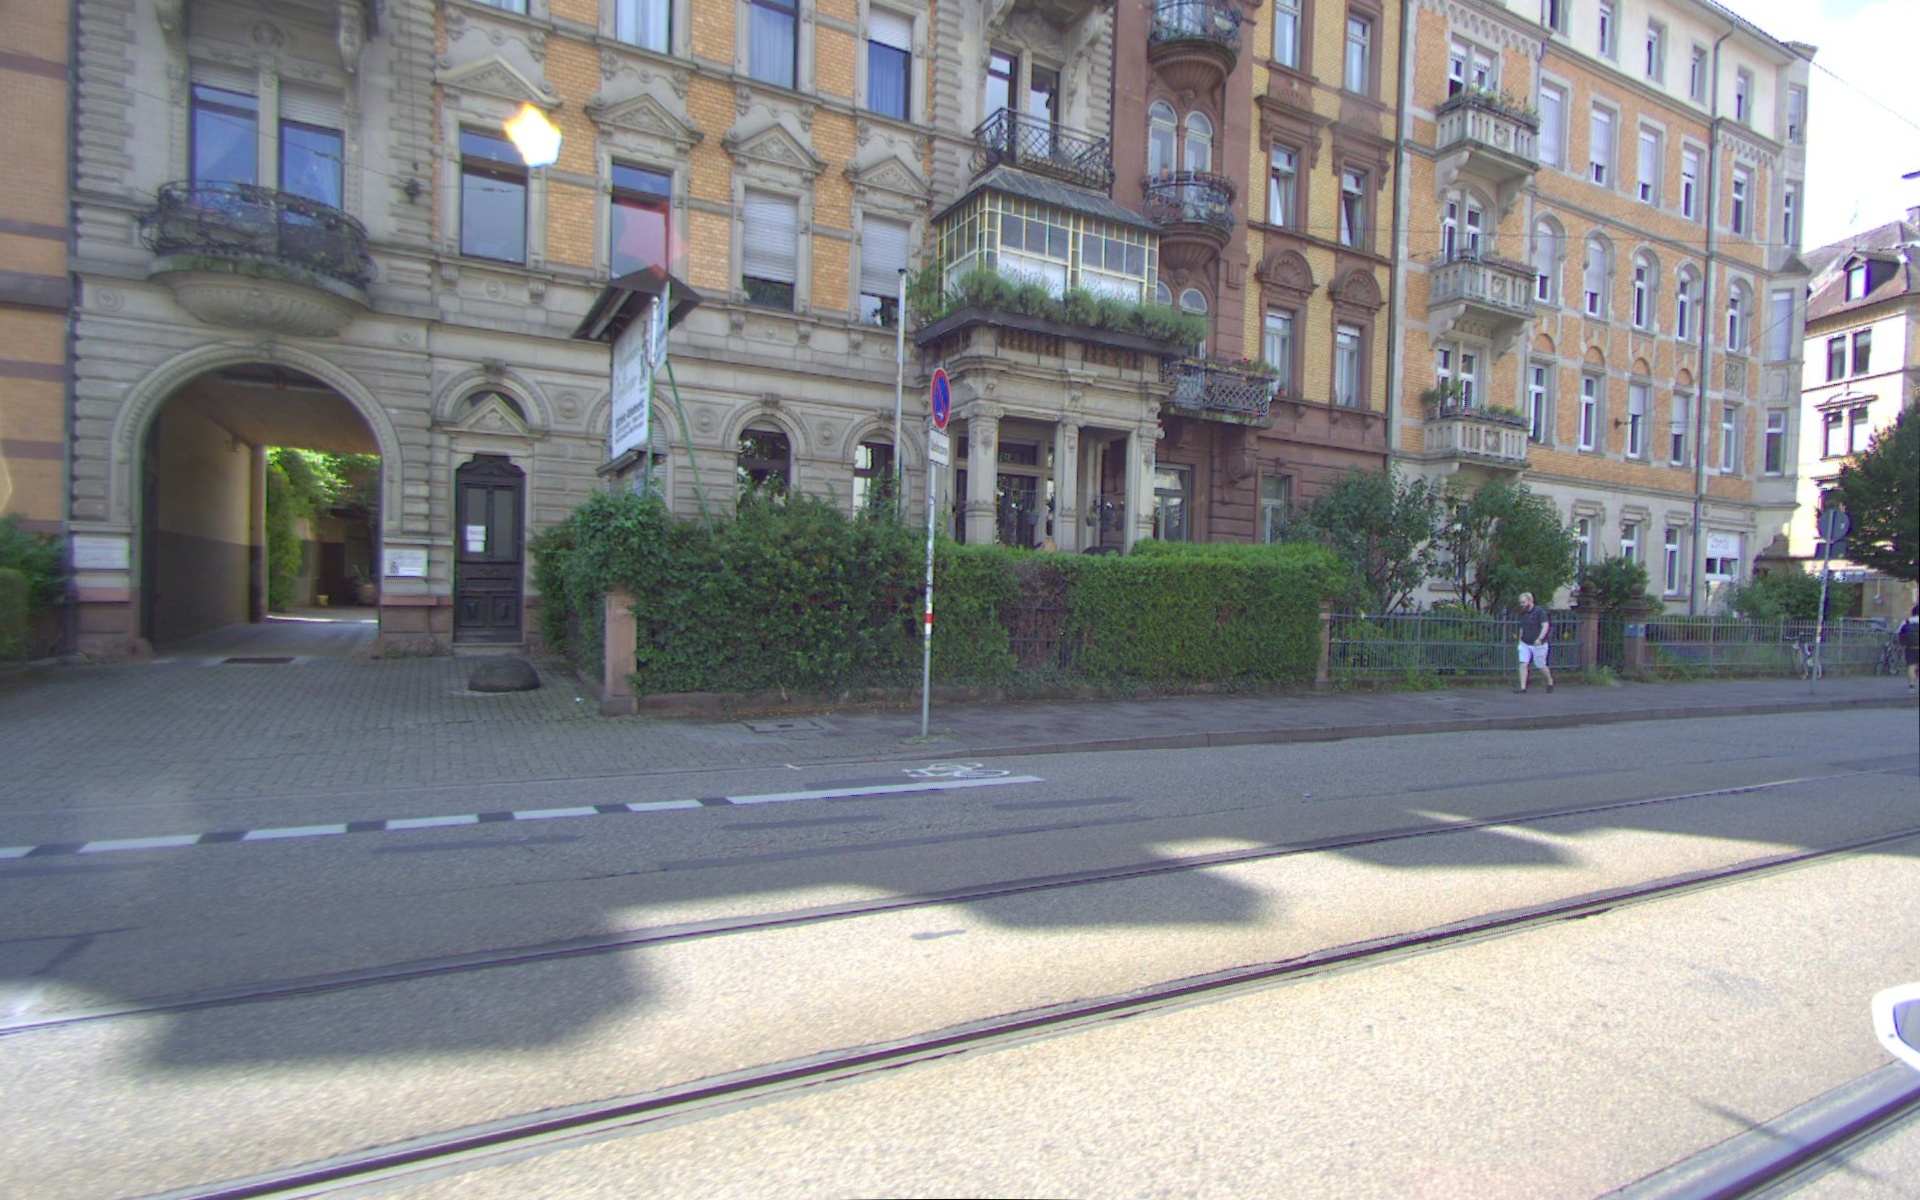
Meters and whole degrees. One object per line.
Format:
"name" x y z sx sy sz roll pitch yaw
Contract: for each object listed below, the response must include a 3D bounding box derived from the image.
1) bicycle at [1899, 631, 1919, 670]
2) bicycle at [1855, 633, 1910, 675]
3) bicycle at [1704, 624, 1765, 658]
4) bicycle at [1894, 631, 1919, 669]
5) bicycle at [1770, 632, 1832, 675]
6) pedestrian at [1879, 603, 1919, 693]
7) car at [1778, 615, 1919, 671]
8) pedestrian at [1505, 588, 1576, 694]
"bicycle" 25.482 1.329 26.526 1.926 0.989 0.419 2 1 -29
"bicycle" 23.012 1.338 25.050 1.926 0.989 0.419 2 1 -29
"bicycle" 24.185 1.257 31.383 0.399 0.990 1.447 1 0 -28
"bicycle" 26.466 1.382 27.366 0.399 0.990 1.447 1 0 -28
"bicycle" 19.284 1.230 23.019 1.926 0.945 0.419 2 1 -29
"pedestrian" 19.412 0.975 20.516 1.092 1.784 0.530 1 3 -29
"car" 26.875 1.234 29.833 1.762 1.422 3.594 1 1 -24
"pedestrian" 9.760 0.687 16.879 1.138 1.726 0.485 1 1 -31
